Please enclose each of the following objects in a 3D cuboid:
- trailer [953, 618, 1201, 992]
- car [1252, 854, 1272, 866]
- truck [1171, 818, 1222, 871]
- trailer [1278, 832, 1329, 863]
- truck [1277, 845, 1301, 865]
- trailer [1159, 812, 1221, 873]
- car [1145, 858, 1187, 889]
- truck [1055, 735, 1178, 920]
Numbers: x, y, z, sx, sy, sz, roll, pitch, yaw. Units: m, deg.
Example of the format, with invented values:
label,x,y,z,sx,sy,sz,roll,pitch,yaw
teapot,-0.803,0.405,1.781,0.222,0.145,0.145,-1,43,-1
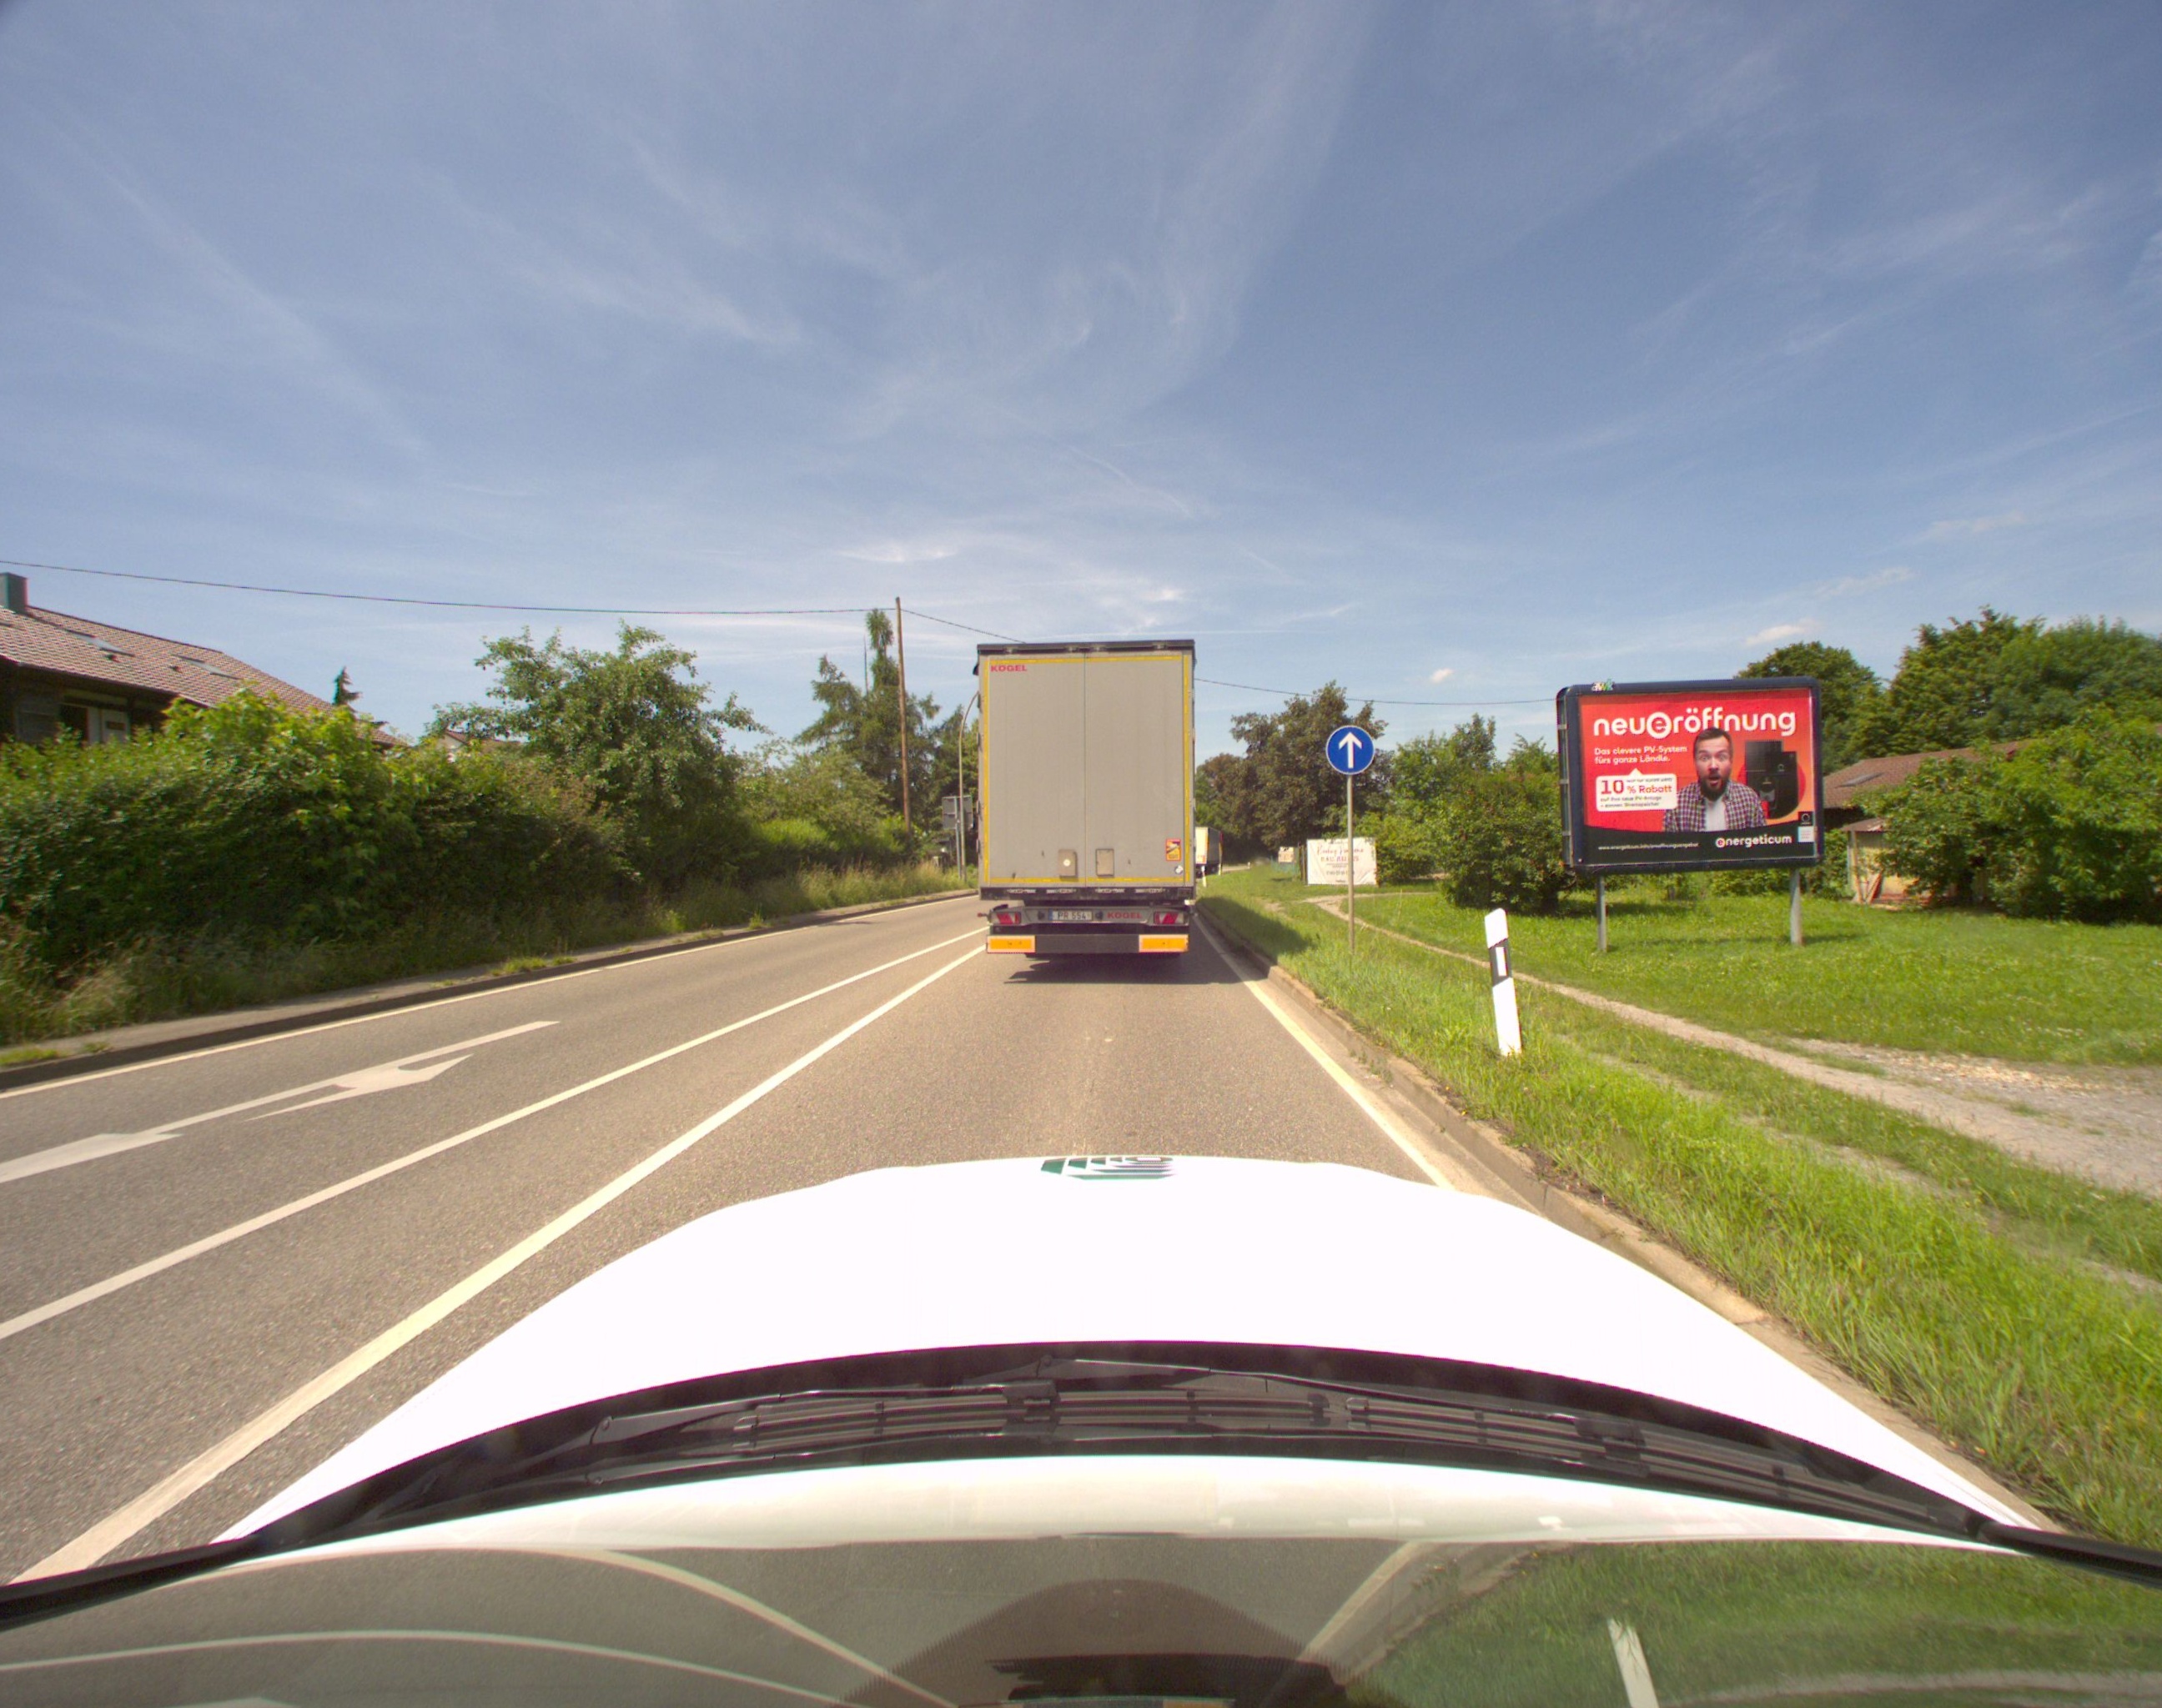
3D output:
label,x,y,z,sx,sy,sz,roll,pitch,yaw
trailer,0.538,-0.586,15.300,2.773,4.205,12.130,-1,0,6
car,23.628,0.815,106.240,1.825,1.486,4.023,-1,0,24
truck,10.735,-0.833,74.843,3.909,4.574,7.177,-1,0,13
trailer,36.593,-1.099,133.199,5.132,4.628,15.988,-1,0,25
truck,30.098,0.084,117.544,2.399,2.838,5.443,-1,0,24
trailer,9.355,-0.928,68.266,3.864,4.520,12.758,-1,0,13
car,4.503,0.970,42.573,1.982,1.530,4.010,0,0,9
truck,1.156,-0.612,21.485,2.731,4.165,6.155,-1,0,7
